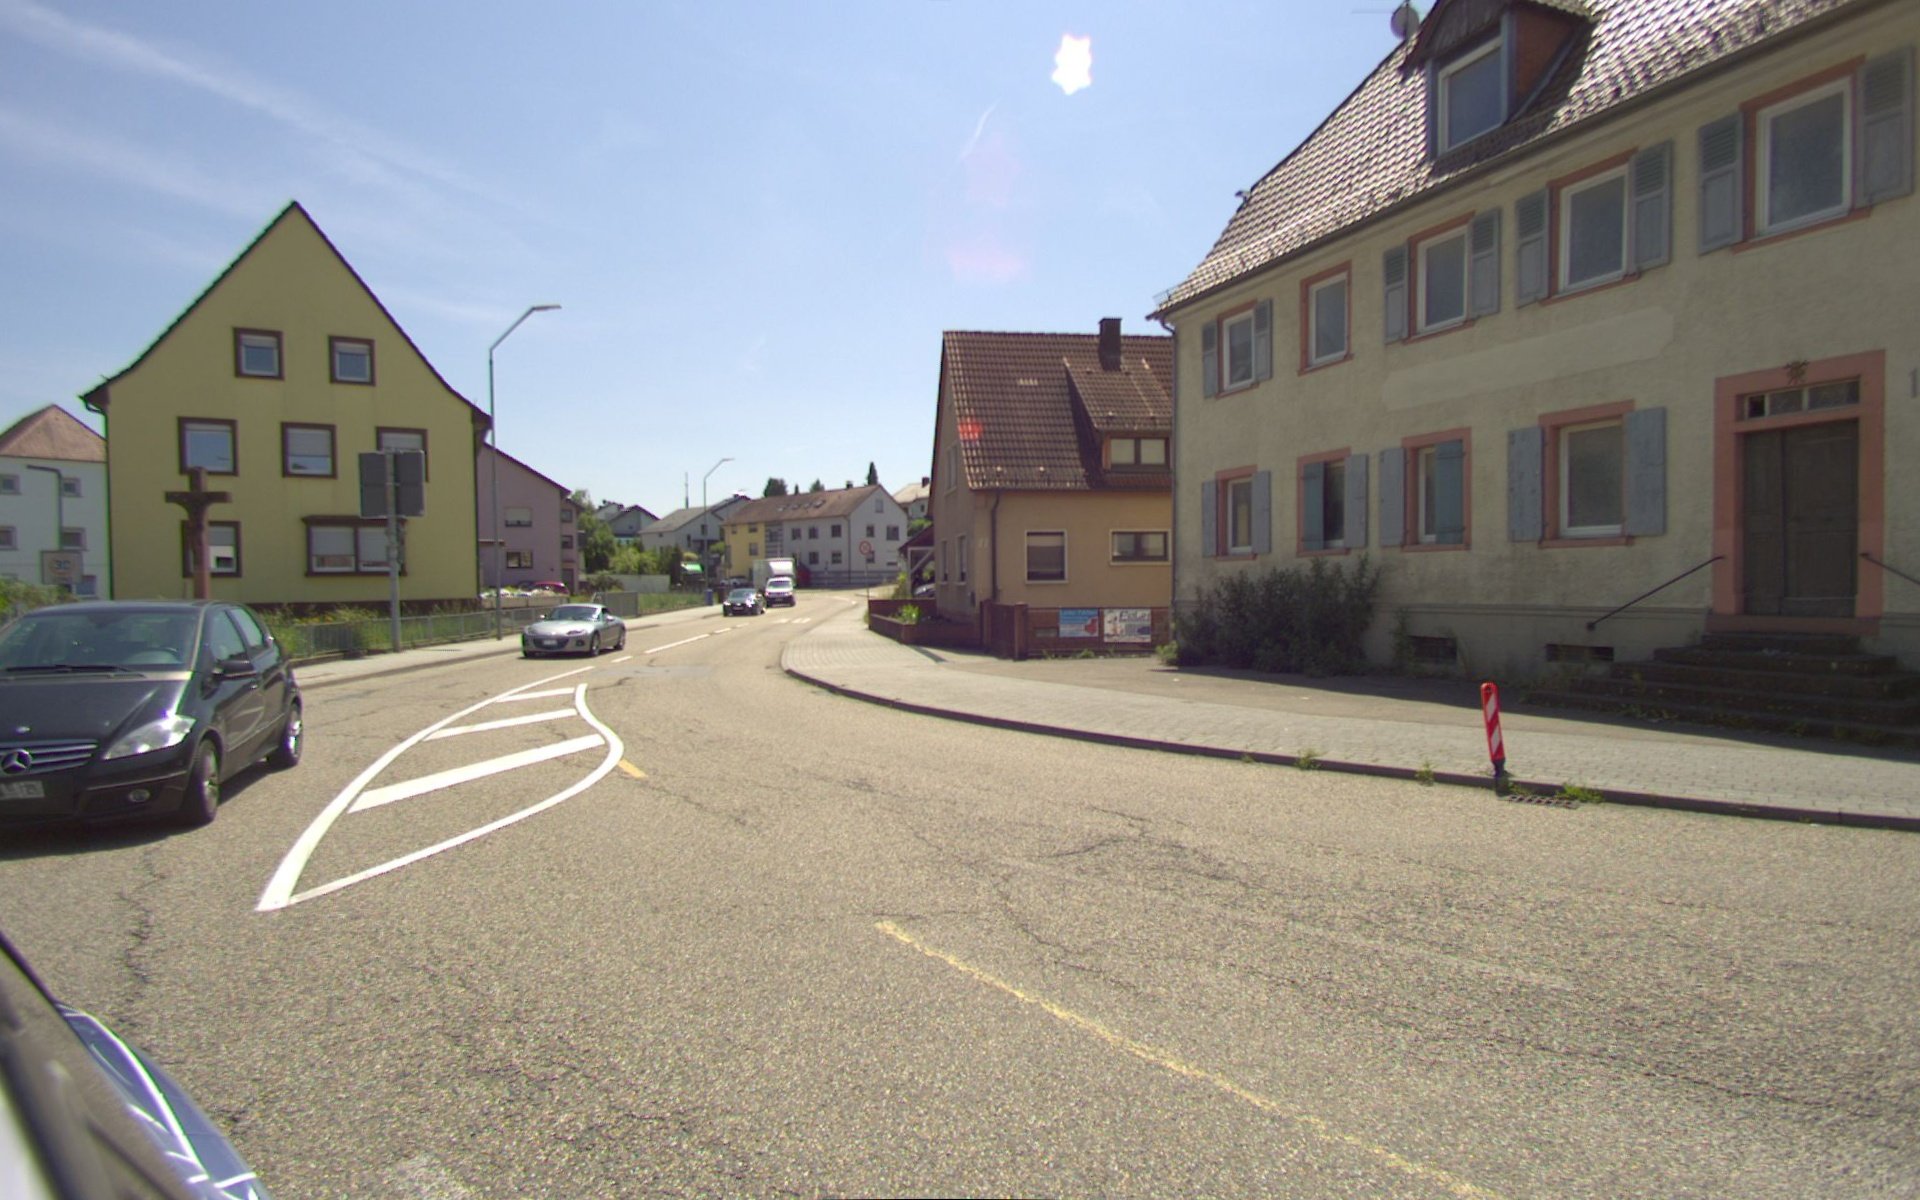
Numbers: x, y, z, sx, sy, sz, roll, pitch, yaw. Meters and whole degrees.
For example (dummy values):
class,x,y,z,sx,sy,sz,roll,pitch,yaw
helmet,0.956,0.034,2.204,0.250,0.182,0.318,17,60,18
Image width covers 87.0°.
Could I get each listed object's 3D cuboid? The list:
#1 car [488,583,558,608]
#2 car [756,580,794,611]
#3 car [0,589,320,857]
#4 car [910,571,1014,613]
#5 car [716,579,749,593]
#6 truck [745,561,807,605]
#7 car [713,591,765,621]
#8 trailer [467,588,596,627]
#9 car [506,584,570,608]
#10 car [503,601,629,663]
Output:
class,x,y,z,sx,sy,sz,roll,pitch,yaw
car,-29.181,-0.320,67.633,4.055,1.559,1.857,-2,2,-30
car,-12.366,-0.338,67.950,1.841,1.922,5.040,-2,1,-3
car,-6.616,0.741,8.099,1.735,1.604,4.212,-2,1,-22
car,0.066,-0.327,40.721,4.079,1.650,1.866,0,1,-1
car,-26.775,-1.698,119.089,4.190,1.563,1.711,1,3,44
truck,-16.096,-1.445,88.034,3.150,3.626,8.334,-2,1,-25
car,-11.507,0.280,52.994,1.871,1.386,4.001,-2,1,-1
trailer,-20.000,0.300,47.305,5.273,1.557,2.145,-3,2,-32
car,-27.405,-0.278,65.705,3.771,1.497,1.767,0,1,-26
car,-9.716,0.735,25.285,1.788,1.324,4.003,1,1,-3
